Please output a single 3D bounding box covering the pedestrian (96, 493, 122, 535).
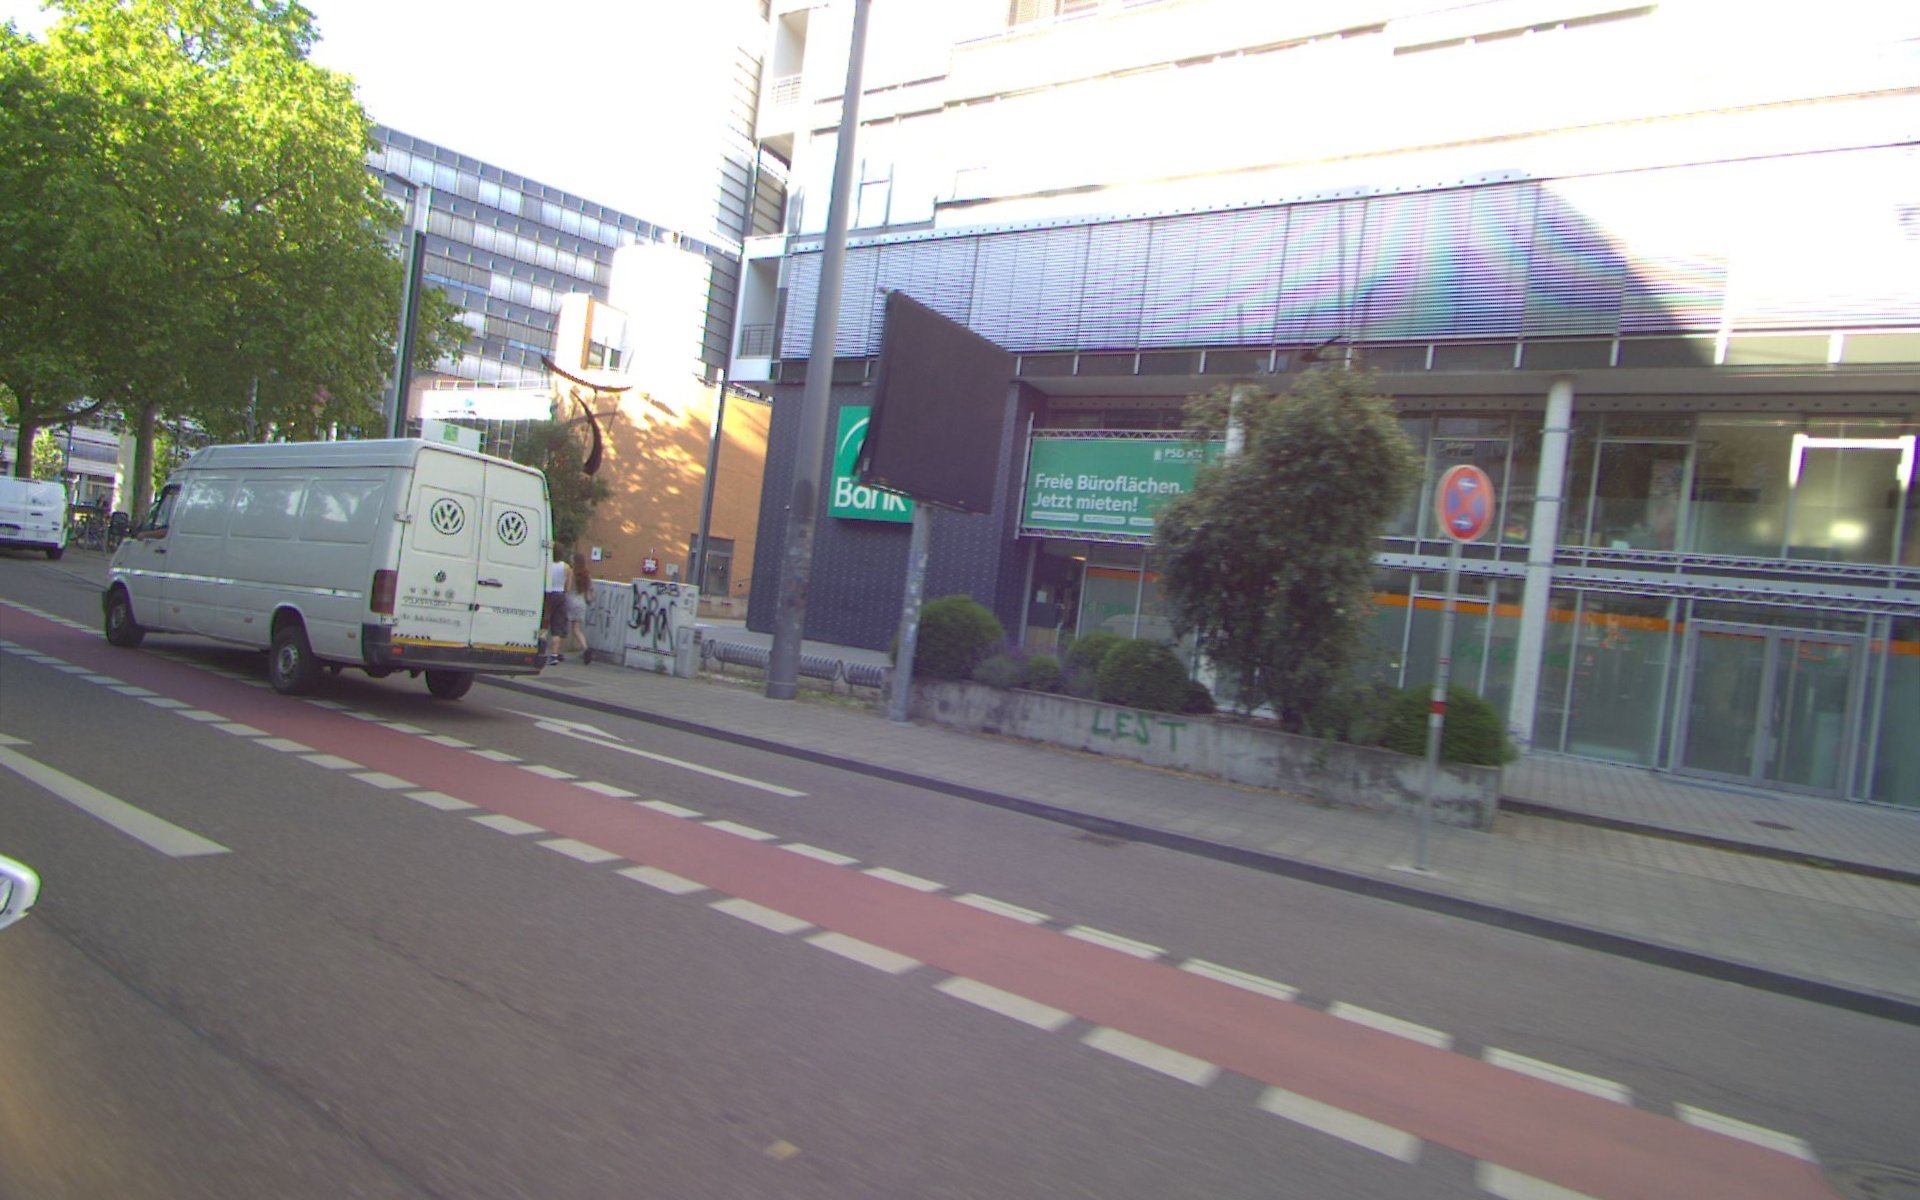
[{"bbox_3d":[-41.769,-4.210,49.397,0.708,1.911,0.637,7,0,32],"label":"pedestrian"}]

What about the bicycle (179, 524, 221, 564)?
[{"bbox_3d":[-26.008,-1.924,34.397,2.369,1.151,0.661,7,0,43],"label":"bicycle"}]

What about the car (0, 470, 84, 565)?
[{"bbox_3d":[-25.429,-2.319,26.544,5.205,2.160,2.124,7,0,34],"label":"car"}]

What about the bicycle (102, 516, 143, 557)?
[{"bbox_3d":[-27.359,-2.086,32.849,2.369,1.151,0.661,7,0,43],"label":"bicycle"}]

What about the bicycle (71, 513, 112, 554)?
[{"bbox_3d":[-27.861,-2.142,32.256,2.369,1.151,0.661,7,0,43],"label":"bicycle"}]

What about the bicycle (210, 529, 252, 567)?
[{"bbox_3d":[-25.429,-1.816,35.091,2.369,1.151,0.661,7,0,43],"label":"bicycle"}]

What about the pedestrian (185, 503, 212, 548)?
[{"bbox_3d":[-33.994,-3.325,44.897,0.554,1.865,0.643,7,0,26],"label":"pedestrian"}]

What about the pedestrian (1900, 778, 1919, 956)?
[{"bbox_3d":[7.407,1.796,7.083,0.897,1.594,0.752,7,0,34],"label":"pedestrian"}]

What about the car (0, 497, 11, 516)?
[{"bbox_3d":[-88.943,-8.768,90.930,1.767,1.579,4.243,7,0,34],"label":"car"}]

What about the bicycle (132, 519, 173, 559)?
[{"bbox_3d":[-26.869,-2.030,33.470,2.369,1.151,0.661,7,0,43],"label":"bicycle"}]

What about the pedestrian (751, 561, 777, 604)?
[{"bbox_3d":[-8.250,-0.744,42.340,0.711,1.697,0.539,7,1,31],"label":"pedestrian"}]

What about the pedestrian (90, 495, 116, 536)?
[{"bbox_3d":[-42.423,-4.187,49.802,0.708,1.911,0.637,7,0,32],"label":"pedestrian"}]

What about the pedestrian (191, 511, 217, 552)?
[{"bbox_3d":[-34.481,-3.112,45.879,0.554,1.776,0.643,7,0,26],"label":"pedestrian"}]

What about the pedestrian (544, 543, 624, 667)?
[{"bbox_3d":[-5.885,0.082,15.744,0.881,1.831,0.590,7,1,32],"label":"pedestrian"}]

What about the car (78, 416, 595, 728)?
[{"bbox_3d":[-7.320,-0.450,11.490,6.451,2.755,1.998,7,-2,31],"label":"car"}]
